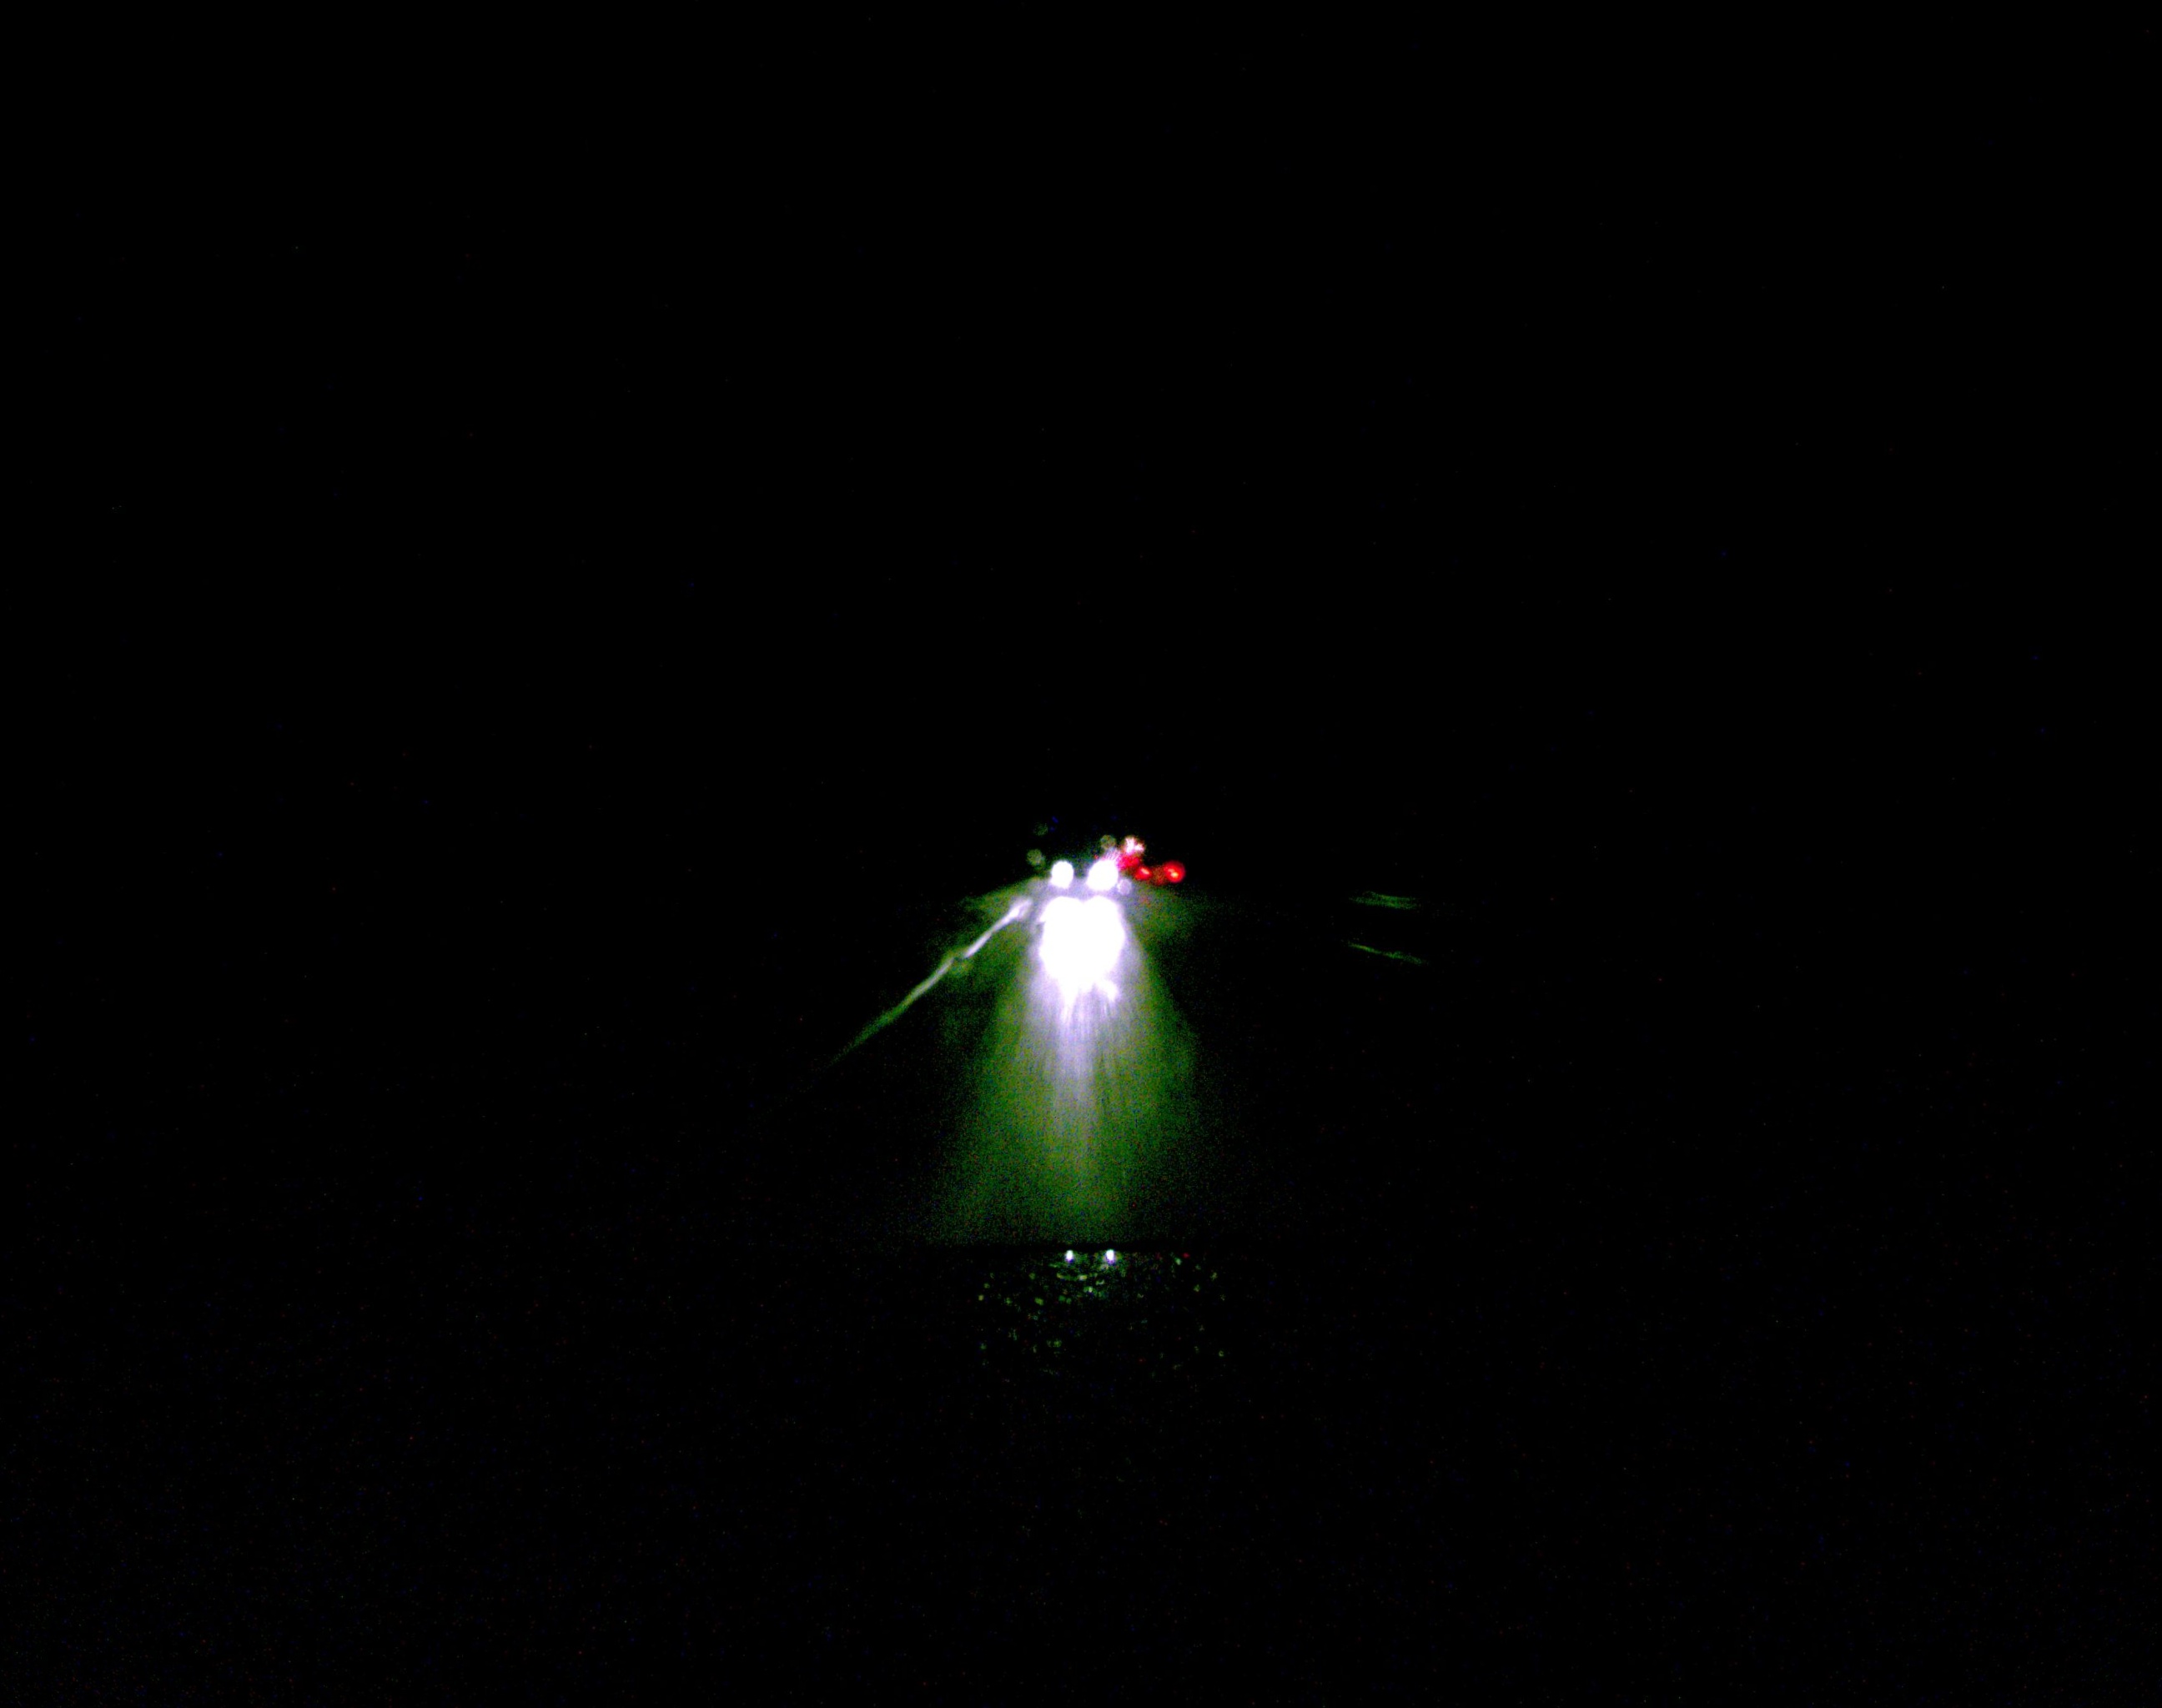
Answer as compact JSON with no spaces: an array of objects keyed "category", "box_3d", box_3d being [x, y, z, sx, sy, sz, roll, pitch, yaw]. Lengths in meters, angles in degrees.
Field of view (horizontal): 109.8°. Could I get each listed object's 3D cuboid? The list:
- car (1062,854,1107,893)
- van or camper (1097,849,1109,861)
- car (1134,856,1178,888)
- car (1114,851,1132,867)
[{"category":"car","box_3d":[0.156,0.803,32.421,1.793,1.593,4.000,0,-1,0]},{"category":"van or camper","box_3d":[4.756,0.156,164.743,2.129,2.550,5.783,1,0,-1]},{"category":"car","box_3d":[3.767,0.870,38.711,1.769,1.510,4.490,1,0,0]},{"category":"car","box_3d":[4.374,0.534,78.863,1.809,1.618,4.407,1,0,3]}]
